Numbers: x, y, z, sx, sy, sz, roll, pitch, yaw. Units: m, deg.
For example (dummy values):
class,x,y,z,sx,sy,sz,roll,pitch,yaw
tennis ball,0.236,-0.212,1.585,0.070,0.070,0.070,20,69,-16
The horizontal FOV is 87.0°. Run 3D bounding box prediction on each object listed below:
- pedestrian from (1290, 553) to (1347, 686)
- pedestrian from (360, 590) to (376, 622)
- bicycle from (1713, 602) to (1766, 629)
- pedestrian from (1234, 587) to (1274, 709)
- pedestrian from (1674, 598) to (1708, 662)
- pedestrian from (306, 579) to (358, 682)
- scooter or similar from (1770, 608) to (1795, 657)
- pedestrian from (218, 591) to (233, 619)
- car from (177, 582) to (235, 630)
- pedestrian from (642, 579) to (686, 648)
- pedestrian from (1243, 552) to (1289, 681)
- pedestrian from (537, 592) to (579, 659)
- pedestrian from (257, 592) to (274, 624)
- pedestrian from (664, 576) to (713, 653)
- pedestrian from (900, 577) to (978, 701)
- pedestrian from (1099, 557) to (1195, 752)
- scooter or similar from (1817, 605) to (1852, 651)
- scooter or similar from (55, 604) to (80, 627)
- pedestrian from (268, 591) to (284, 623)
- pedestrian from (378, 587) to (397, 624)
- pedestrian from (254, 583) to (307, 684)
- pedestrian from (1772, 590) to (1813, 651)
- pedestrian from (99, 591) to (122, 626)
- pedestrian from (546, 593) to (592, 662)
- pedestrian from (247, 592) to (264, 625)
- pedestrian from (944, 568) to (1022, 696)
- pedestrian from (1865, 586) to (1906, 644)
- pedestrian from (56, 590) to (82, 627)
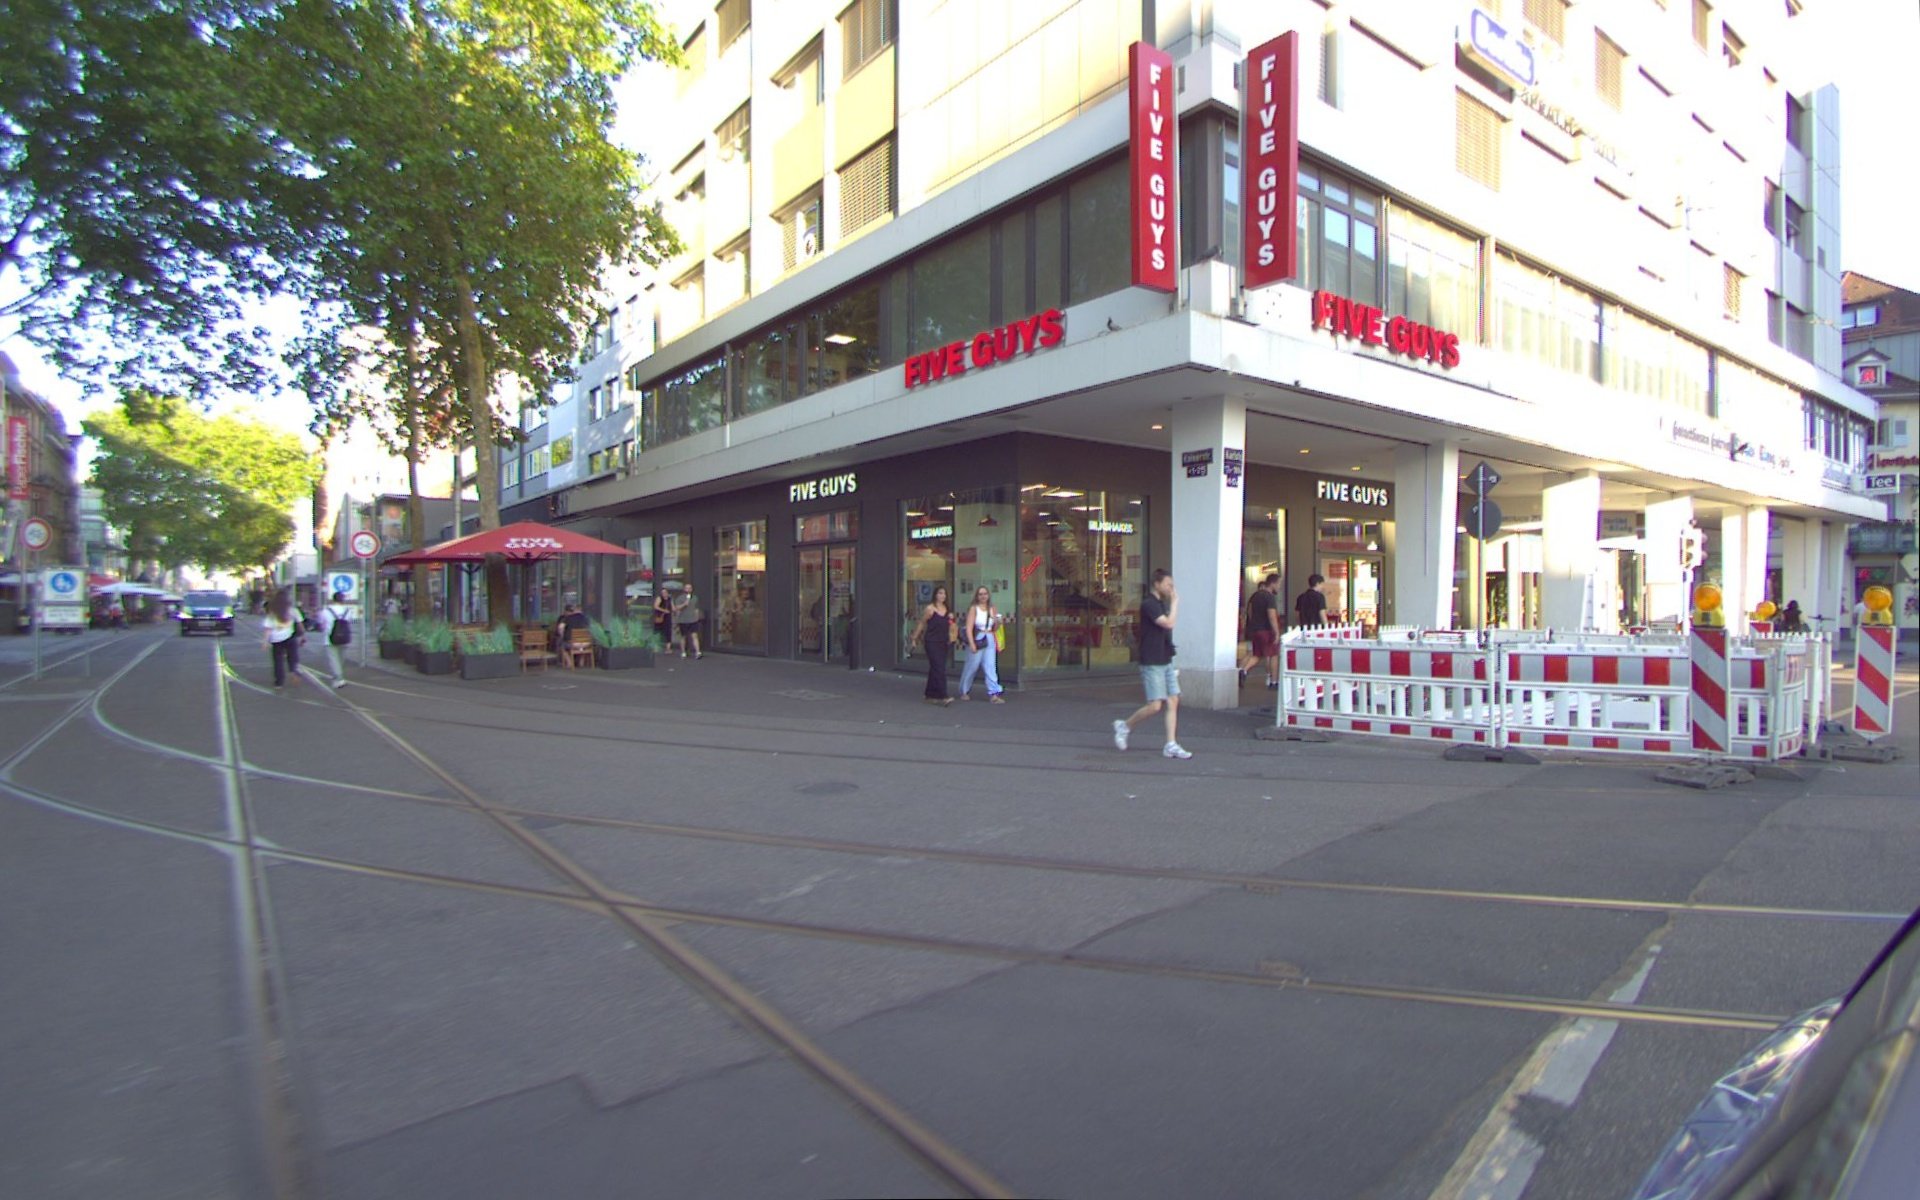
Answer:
class,x,y,z,sx,sy,sz,roll,pitch,yaw
pedestrian,5.631,0.300,15.921,0.461,2.040,0.709,0,-2,-19
pedestrian,-31.221,0.315,53.408,0.650,1.632,0.663,0,-2,-38
bicycle,34.938,0.690,45.363,1.809,1.196,0.772,-1,-1,-6
pedestrian,5.038,0.818,17.387,0.463,2.040,0.706,-1,-2,4
pedestrian,21.263,0.870,29.446,0.698,1.839,0.621,-2,-2,41
pedestrian,-10.999,0.522,17.730,0.700,1.757,0.778,0,-2,-38
scooter or similar,25.888,1.000,31.857,1.291,1.507,0.314,0,-1,-38
pedestrian,-47.737,0.332,65.759,0.746,1.750,0.663,0,-2,-38
car,-33.519,0.308,45.028,1.963,2.039,4.292,0,-2,-36
pedestrian,-7.511,0.341,25.652,0.826,1.715,0.840,0,-2,-36
pedestrian,4.977,0.268,16.486,0.508,2.040,0.780,-1,-2,4
pedestrian,-8.541,0.529,21.495,0.678,1.387,0.644,0,-2,-38
pedestrian,-35.216,0.407,51.302,0.650,1.632,0.663,0,-2,-38
pedestrian,-6.234,0.330,23.205,0.826,1.715,0.840,0,-2,-36
pedestrian,-0.296,0.531,14.038,0.700,1.651,0.826,0,-2,-38
pedestrian,1.809,0.507,9.776,0.717,1.792,0.664,-2,-2,28
scooter or similar,24.175,0.769,27.977,1.158,1.250,0.506,0,-1,-38
scooter or similar,-39.405,0.697,44.694,0.771,0.981,0.663,0,-2,-38
pedestrian,-35.270,0.369,52.212,0.650,1.632,0.663,0,-2,-38
pedestrian,-25.927,0.242,45.810,0.650,1.632,0.663,0,-2,-38
pedestrian,-11.704,0.562,17.420,0.713,1.683,0.778,0,-2,-38
pedestrian,23.858,0.580,29.024,0.691,1.715,0.538,-1,-2,16
pedestrian,-40.484,0.403,48.252,0.818,1.632,0.663,0,-2,-38
pedestrian,-7.964,0.554,20.615,0.678,1.387,0.778,0,-2,-38
pedestrian,-35.902,0.425,51.574,0.650,1.632,0.663,0,-2,-38
pedestrian,0.325,0.449,14.463,0.758,1.757,0.790,0,-2,-38
pedestrian,29.826,0.481,32.612,0.835,1.839,0.702,0,-2,-31
pedestrian,-39.783,0.388,45.193,0.818,1.632,0.663,0,-2,-38
